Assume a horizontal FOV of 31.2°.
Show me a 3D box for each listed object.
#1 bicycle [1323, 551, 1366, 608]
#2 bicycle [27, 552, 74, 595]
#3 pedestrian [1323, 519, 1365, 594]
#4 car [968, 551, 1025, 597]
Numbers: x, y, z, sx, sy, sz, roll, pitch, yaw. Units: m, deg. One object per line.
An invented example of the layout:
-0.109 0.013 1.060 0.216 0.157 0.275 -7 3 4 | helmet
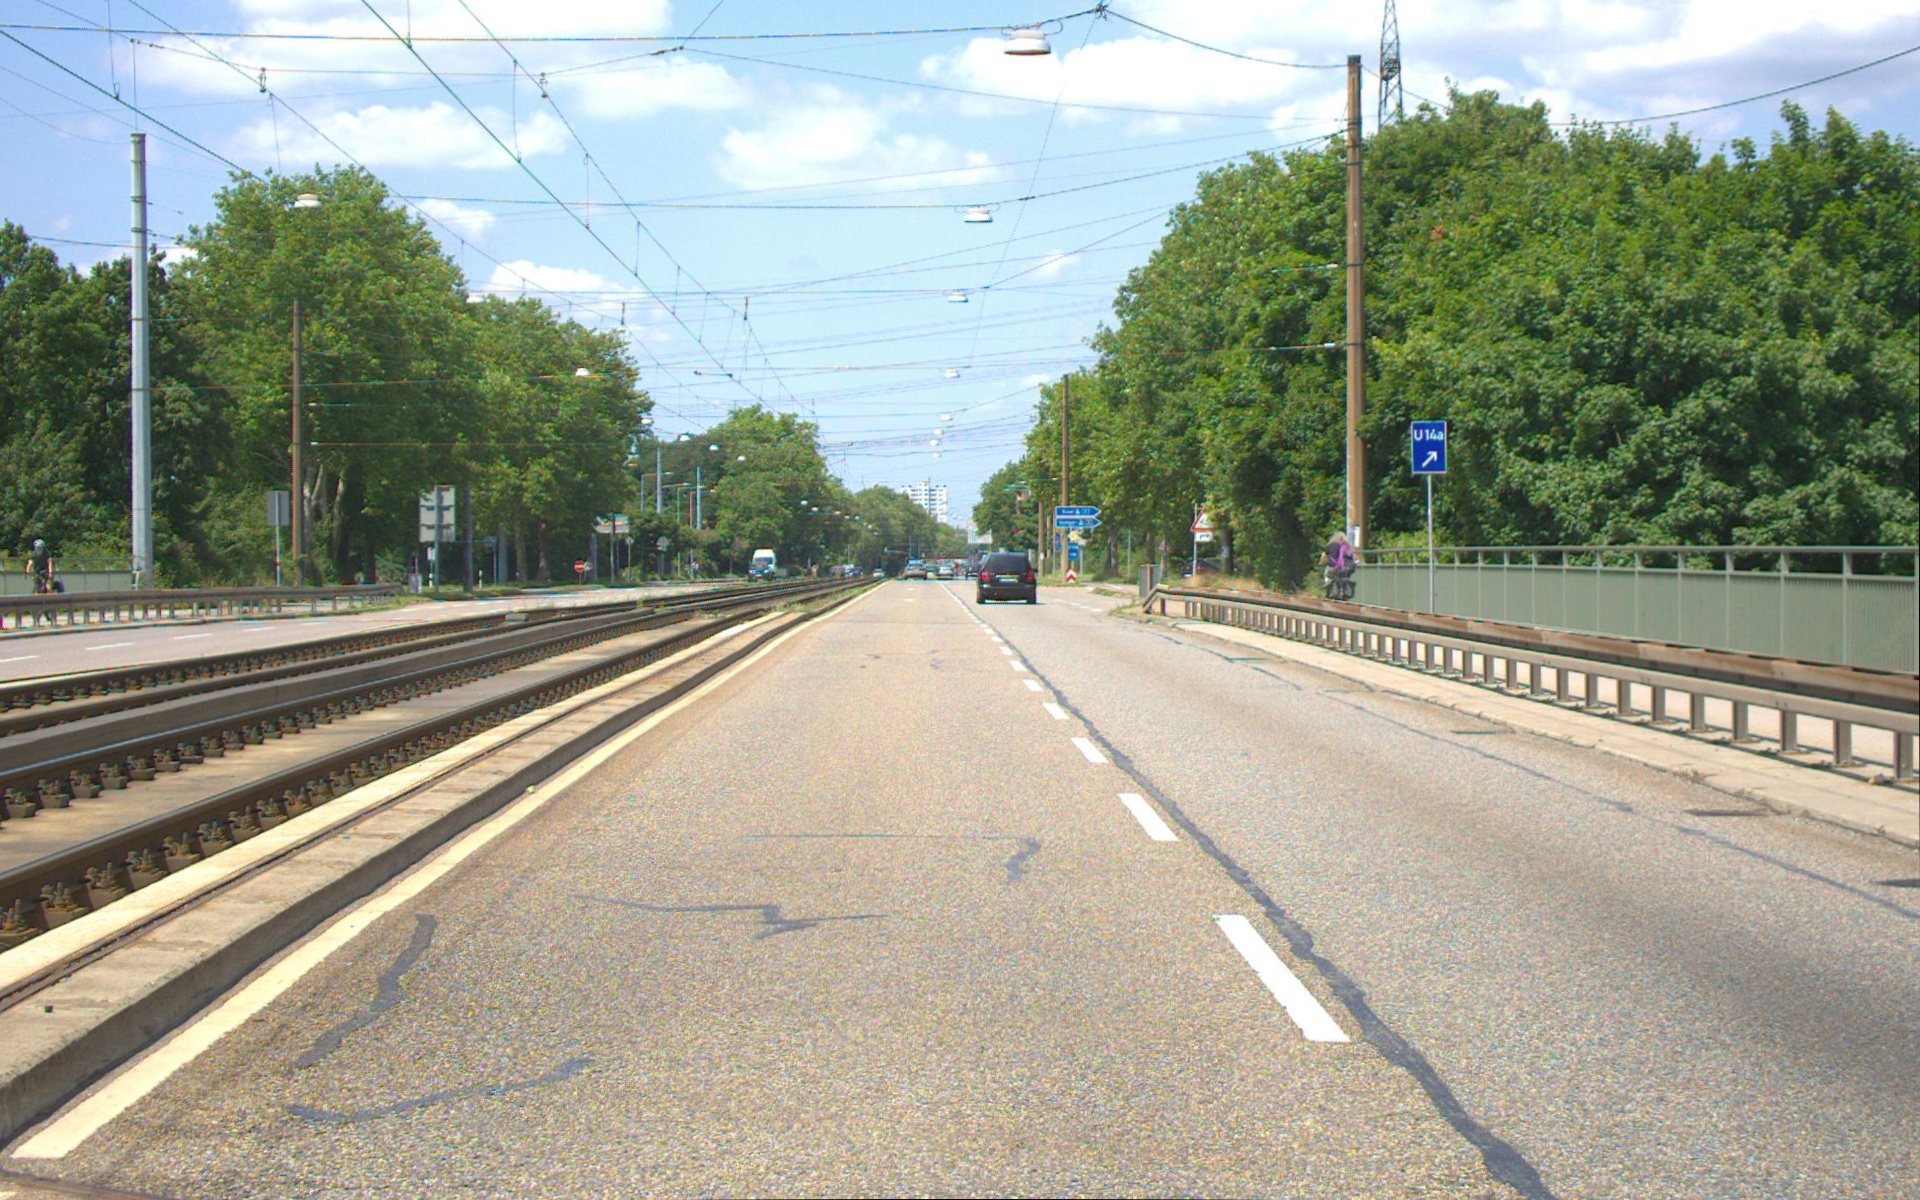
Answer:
7.093 -0.383 63.453 0.559 1.021 1.848 0 1 0 | bicycle
-19.132 -0.565 72.323 0.522 0.840 2.036 2 1 -3 | bicycle
7.088 -0.795 63.487 0.628 1.369 1.050 0 1 0 | pedestrian
1.106 -0.799 104.876 1.586 1.338 3.273 -1 1 -2 | car
